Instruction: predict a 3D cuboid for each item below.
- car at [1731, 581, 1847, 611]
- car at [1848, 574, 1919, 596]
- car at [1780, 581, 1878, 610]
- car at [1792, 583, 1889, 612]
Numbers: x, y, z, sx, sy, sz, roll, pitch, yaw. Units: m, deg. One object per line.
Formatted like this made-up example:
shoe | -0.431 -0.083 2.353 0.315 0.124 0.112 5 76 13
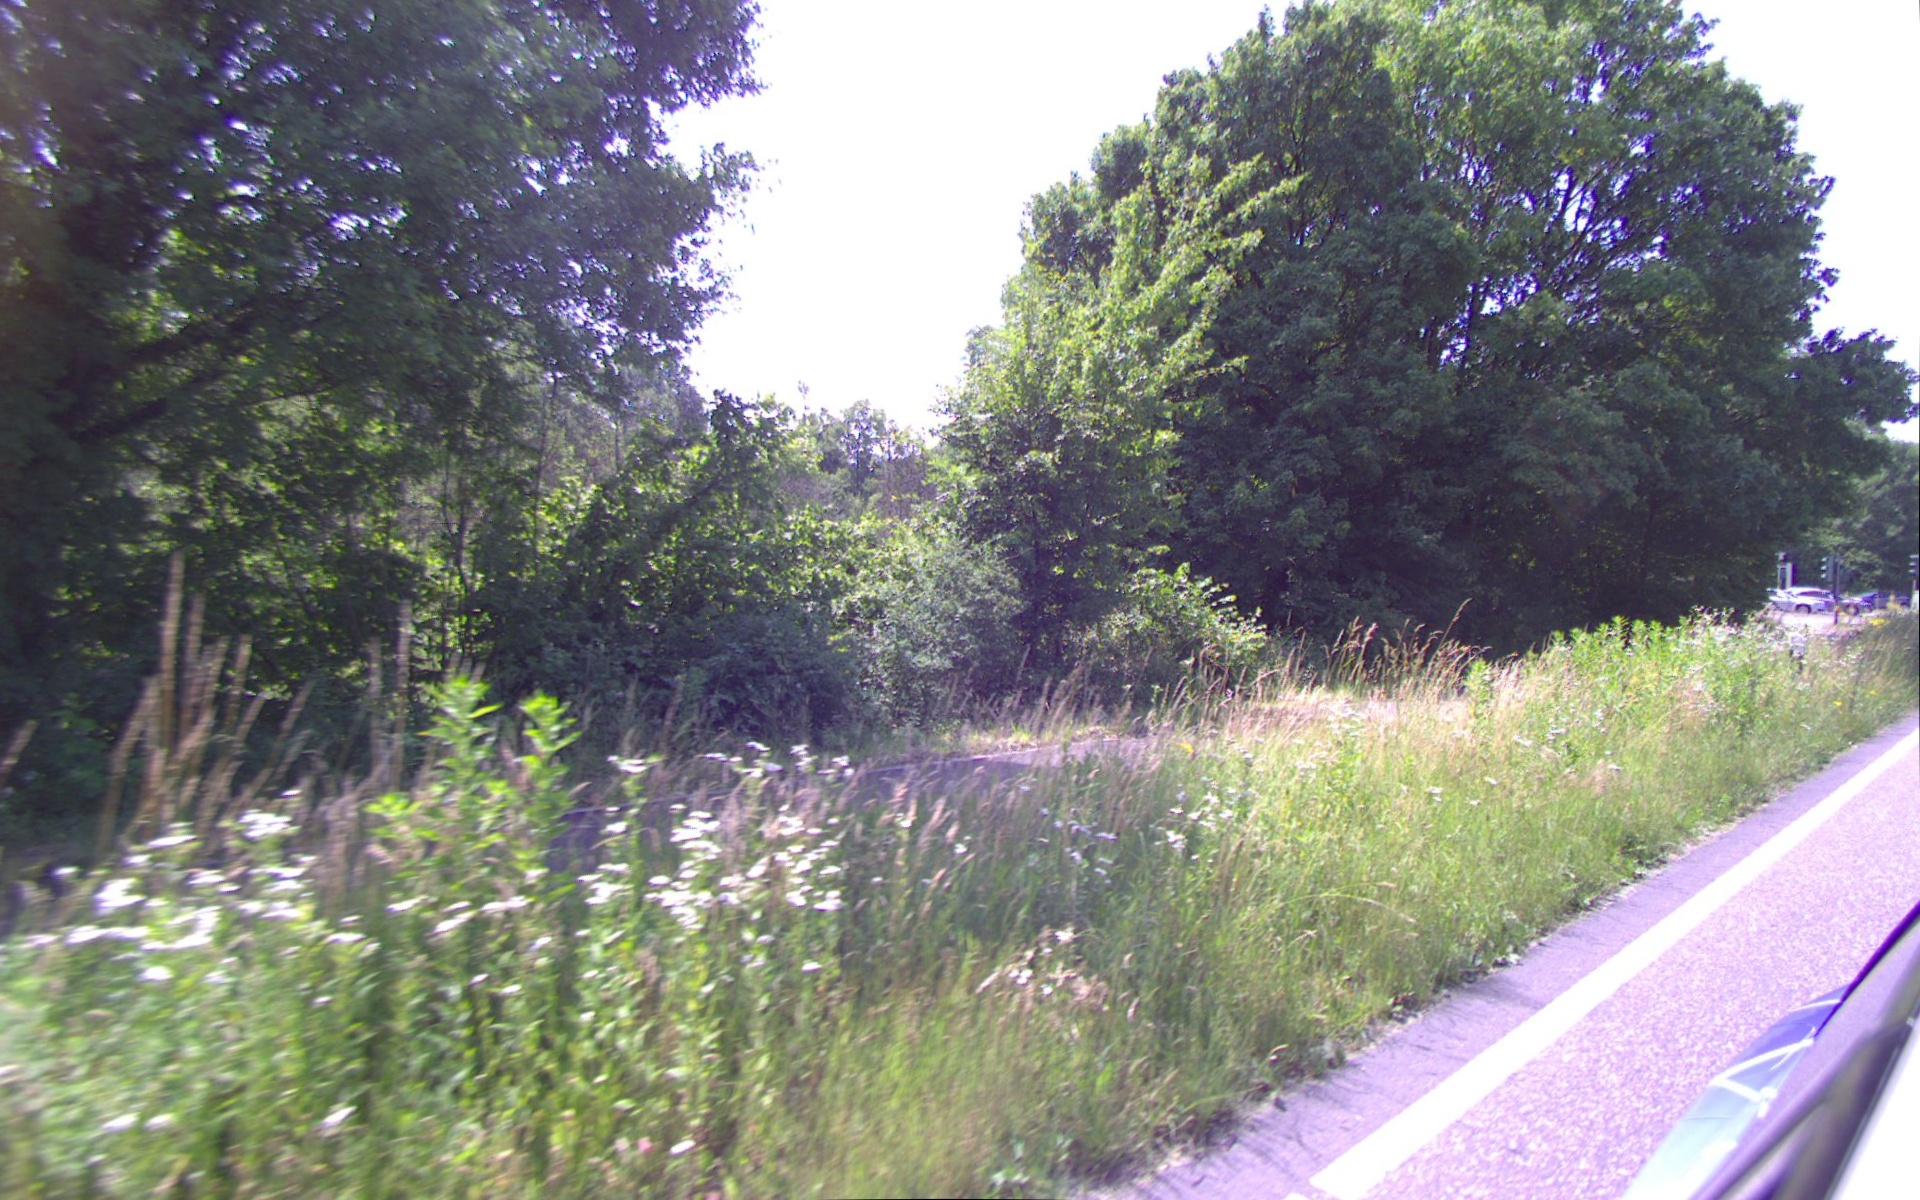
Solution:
car | 48.566 -0.264 59.355 1.984 1.516 4.945 -1 3 -39
car | 66.363 -1.089 72.262 4.151 1.478 1.796 1 1 3
car | 54.546 -0.310 63.584 1.965 1.554 4.429 0 3 -41
car | 52.380 -0.196 60.252 1.961 1.464 4.100 0 3 -41
